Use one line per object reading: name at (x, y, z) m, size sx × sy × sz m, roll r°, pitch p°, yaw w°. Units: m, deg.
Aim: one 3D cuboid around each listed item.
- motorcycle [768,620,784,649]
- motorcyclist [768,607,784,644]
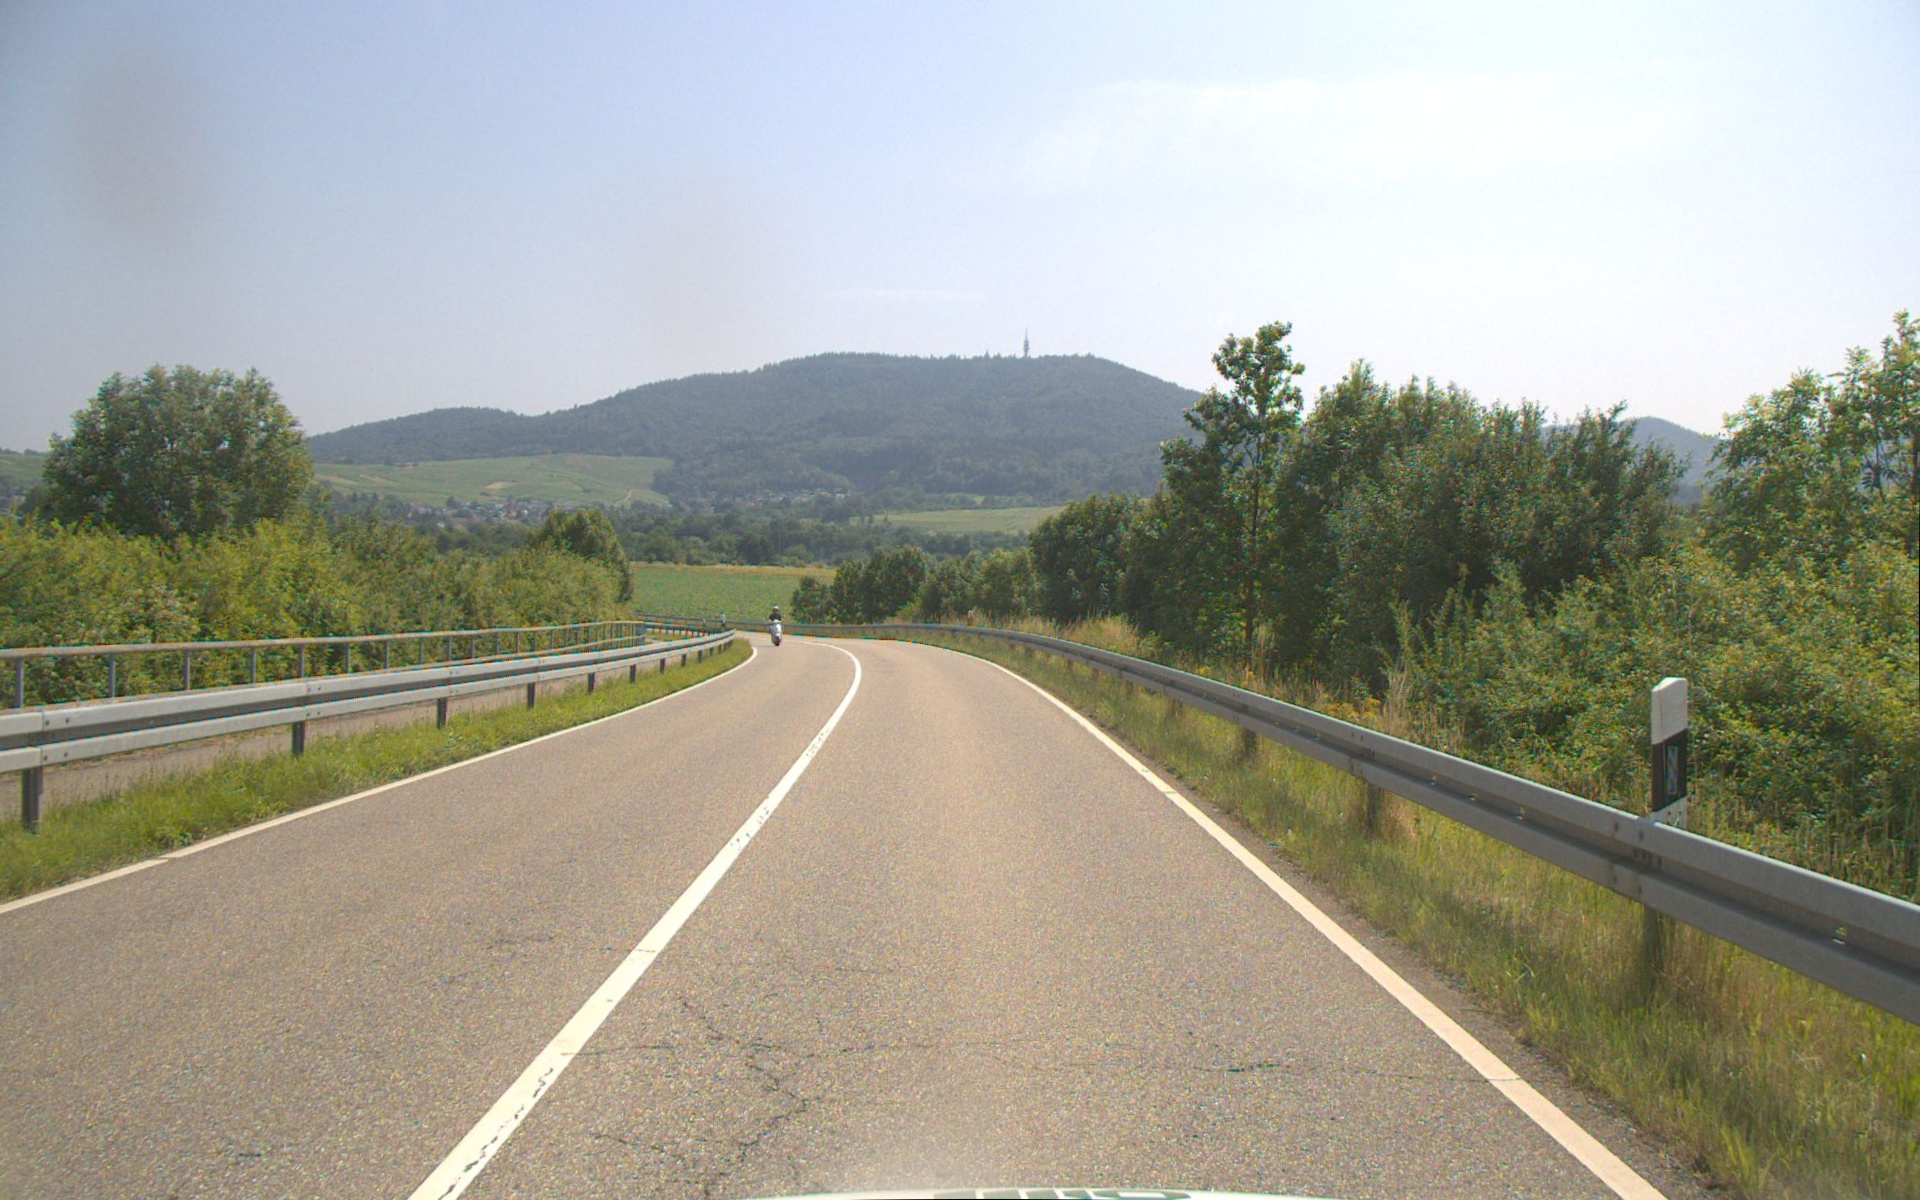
motorcycle at (-8.091, 1.493, 72.668) m, size 0.631 × 1.245 × 1.636 m, roll -2°, pitch 0°, yaw -7°
motorcyclist at (-8.093, 1.109, 72.690) m, size 0.642 × 1.590 × 0.774 m, roll -2°, pitch -1°, yaw -7°
